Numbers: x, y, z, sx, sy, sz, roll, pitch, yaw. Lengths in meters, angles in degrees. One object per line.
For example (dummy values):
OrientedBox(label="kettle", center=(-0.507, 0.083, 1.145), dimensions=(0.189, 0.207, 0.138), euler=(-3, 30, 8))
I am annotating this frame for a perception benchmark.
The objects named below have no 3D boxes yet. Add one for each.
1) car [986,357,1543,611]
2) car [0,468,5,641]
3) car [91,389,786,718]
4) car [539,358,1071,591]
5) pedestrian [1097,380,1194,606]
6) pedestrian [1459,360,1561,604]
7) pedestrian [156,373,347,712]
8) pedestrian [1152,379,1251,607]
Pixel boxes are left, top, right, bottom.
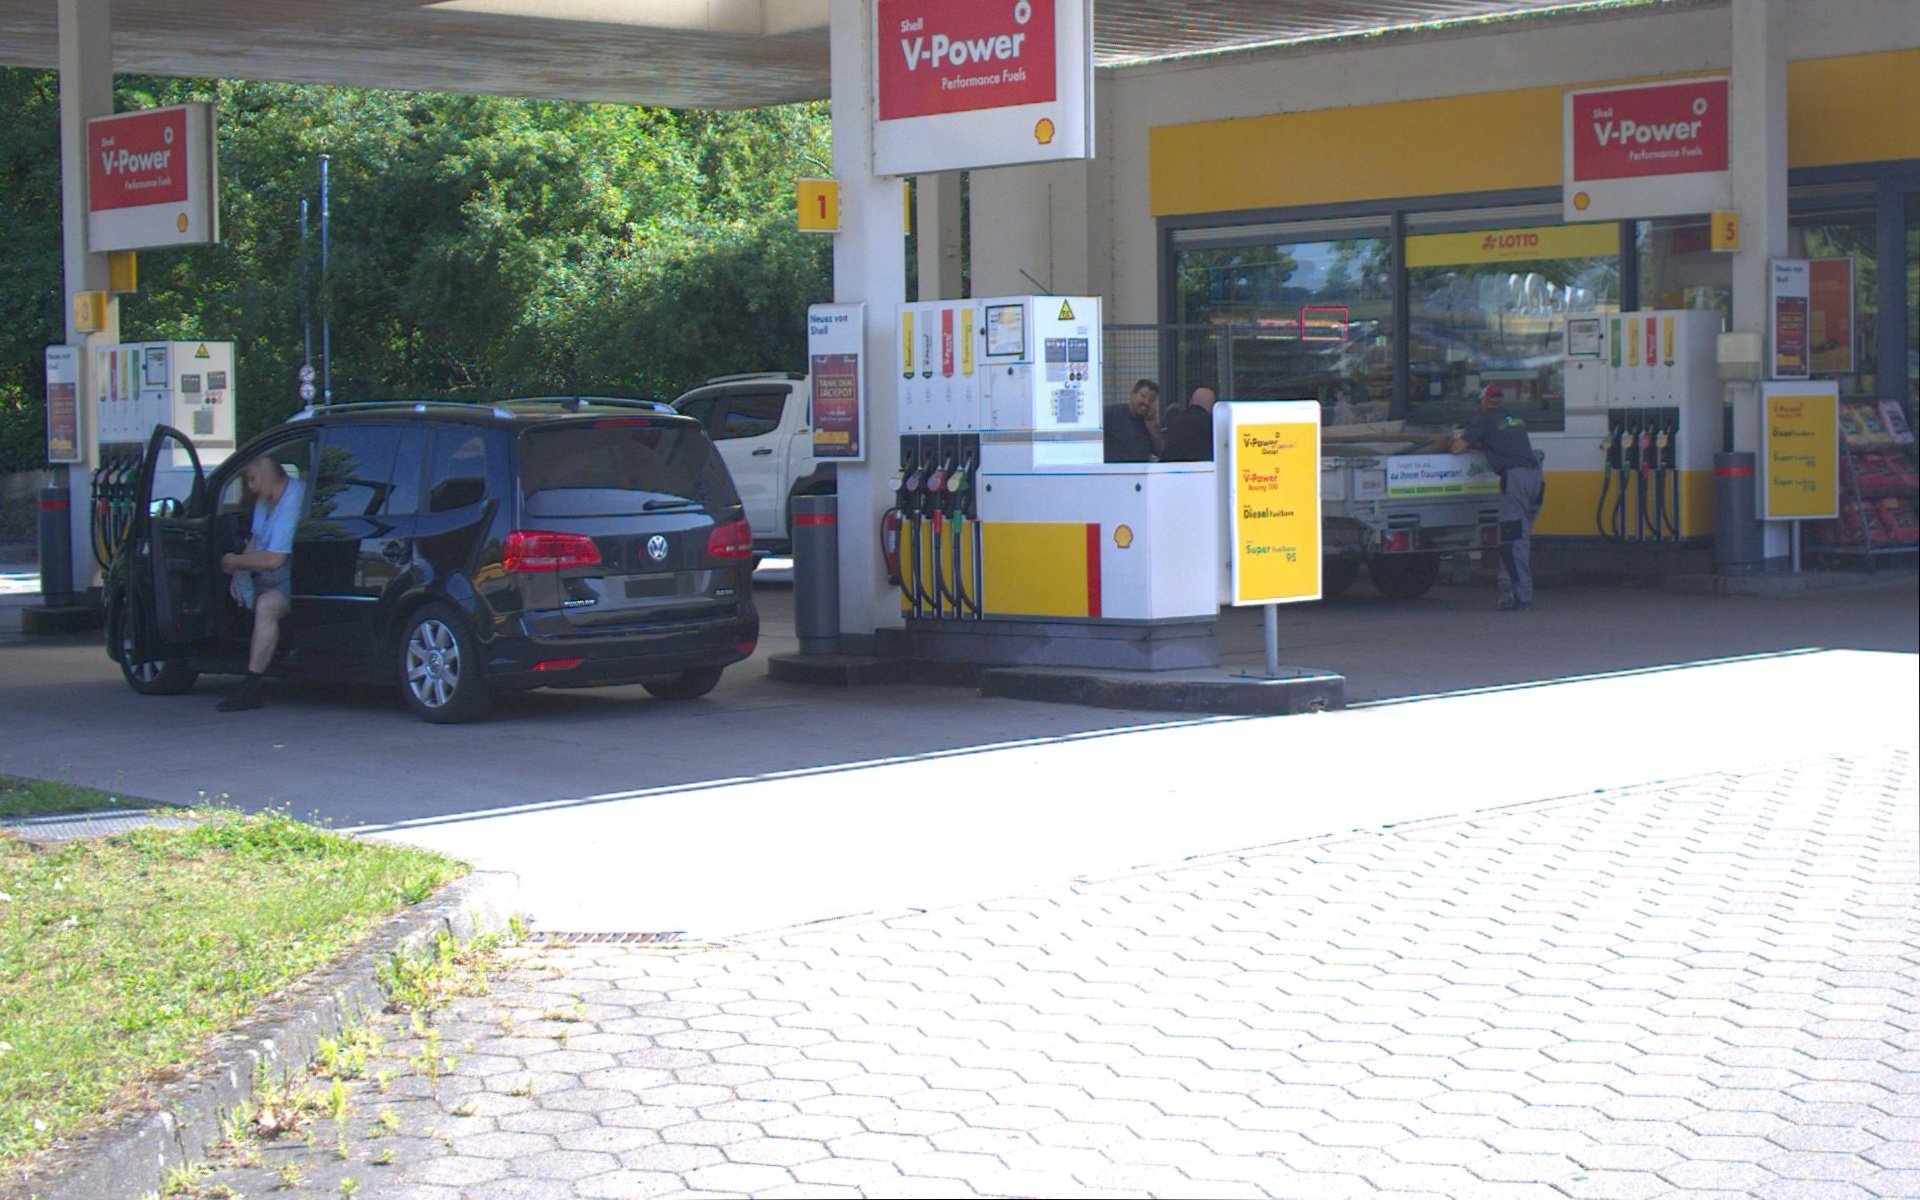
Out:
OrientedBox(label="car", center=(2.175, -0.869, 25.425), dimensions=(1.828, 1.722, 3.999), euler=(-3, 3, -38))
OrientedBox(label="car", center=(-8.491, -0.416, 24.531), dimensions=(1.798, 1.356, 3.847), euler=(-3, 4, -39))
OrientedBox(label="car", center=(-2.883, -0.311, 18.516), dimensions=(1.761, 1.573, 3.876), euler=(-4, 4, -44))
OrientedBox(label="car", center=(-1.409, -1.098, 29.454), dimensions=(1.852, 1.831, 4.778), euler=(-4, 4, -44))
OrientedBox(label="pedestrian", center=(1.353, -0.787, 25.054), dimensions=(0.499, 1.626, 0.475), euler=(-3, 4, -38))
OrientedBox(label="pedestrian", center=(3.814, -0.824, 23.844), dimensions=(0.474, 1.662, 0.500), euler=(-3, 4, -41))
OrientedBox(label="pedestrian", center=(-3.716, -0.318, 18.024), dimensions=(0.672, 1.723, 0.812), euler=(-3, 3, -35))
OrientedBox(label="pedestrian", center=(1.709, -0.761, 24.332), dimensions=(0.499, 1.587, 0.475), euler=(-3, 4, -38))
